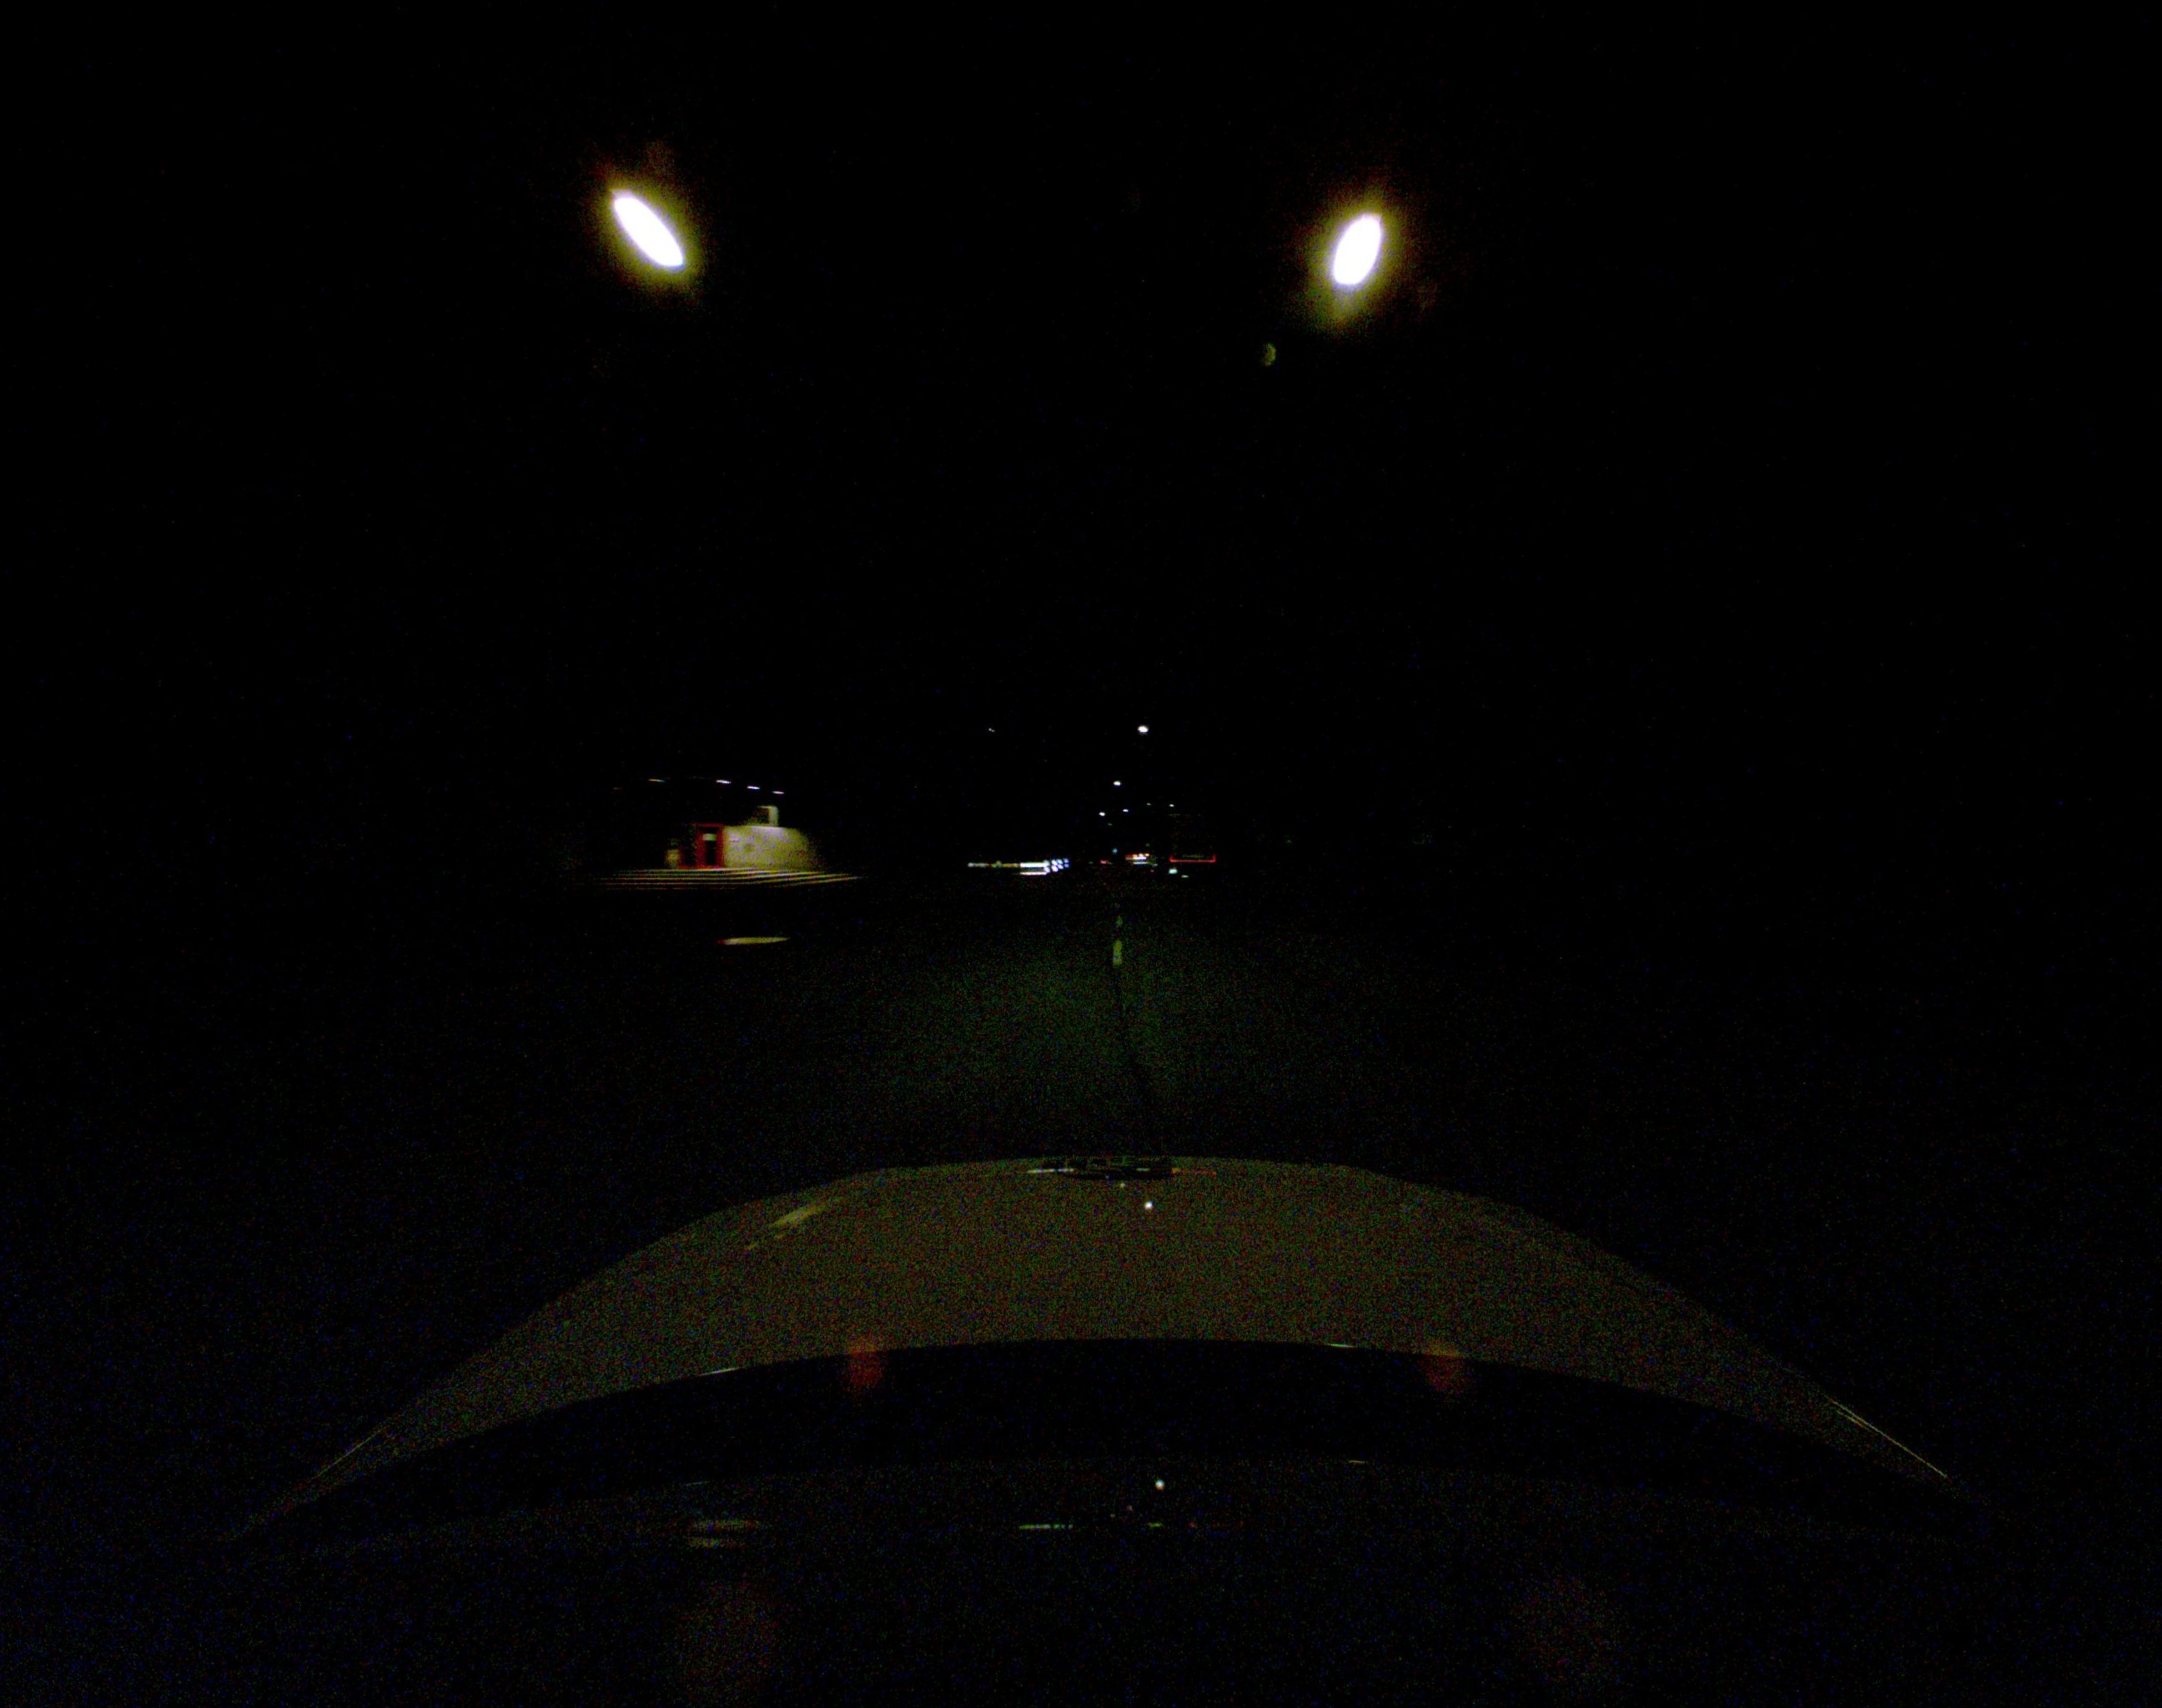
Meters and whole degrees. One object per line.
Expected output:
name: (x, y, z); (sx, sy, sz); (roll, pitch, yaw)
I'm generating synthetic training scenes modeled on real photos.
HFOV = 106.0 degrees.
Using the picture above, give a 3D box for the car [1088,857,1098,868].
car: (2.050, 1.471, 141.195); (1.714, 1.661, 4.000); (1, -2, 1)

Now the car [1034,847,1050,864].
car: (-7.054, 0.291, 147.863); (2.512, 2.927, 7.197); (-1, -1, -1)

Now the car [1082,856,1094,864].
car: (1.657, 1.446, 193.642); (1.979, 1.700, 4.222); (1, -2, 15)

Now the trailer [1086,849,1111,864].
trailer: (2.645, 0.446, 126.368); (1.568, 2.161, 5.175); (0, -2, -27)

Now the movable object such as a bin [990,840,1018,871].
movable object such as a bin: (-6.278, 0.131, 66.087); (1.554, 2.467, 2.820); (0, -1, -20)

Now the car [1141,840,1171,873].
car: (6.064, 0.209, 66.451); (2.100, 2.516, 6.376); (1, 0, 3)

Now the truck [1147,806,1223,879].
truck: (6.036, -0.563, 48.987); (3.313, 3.869, 9.326); (1, -1, 0)

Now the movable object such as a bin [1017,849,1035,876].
movable object such as a bin: (-5.778, 0.845, 85.532); (1.569, 2.734, 3.693); (-2, 0, -6)

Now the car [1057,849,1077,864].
car: (-3.010, 0.529, 177.839); (2.501, 3.171, 7.164); (-1, -1, 14)

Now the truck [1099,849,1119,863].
truck: (7.404, 0.570, 212.197); (1.976, 3.404, 9.029); (1, 0, 24)

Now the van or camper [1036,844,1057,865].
van or camper: (-5.205, 0.106, 123.241); (2.510, 3.094, 7.447); (-1, -1, 2)

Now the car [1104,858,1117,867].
car: (6.223, 1.768, 169.693); (1.708, 1.821, 4.016); (1, -2, 16)
